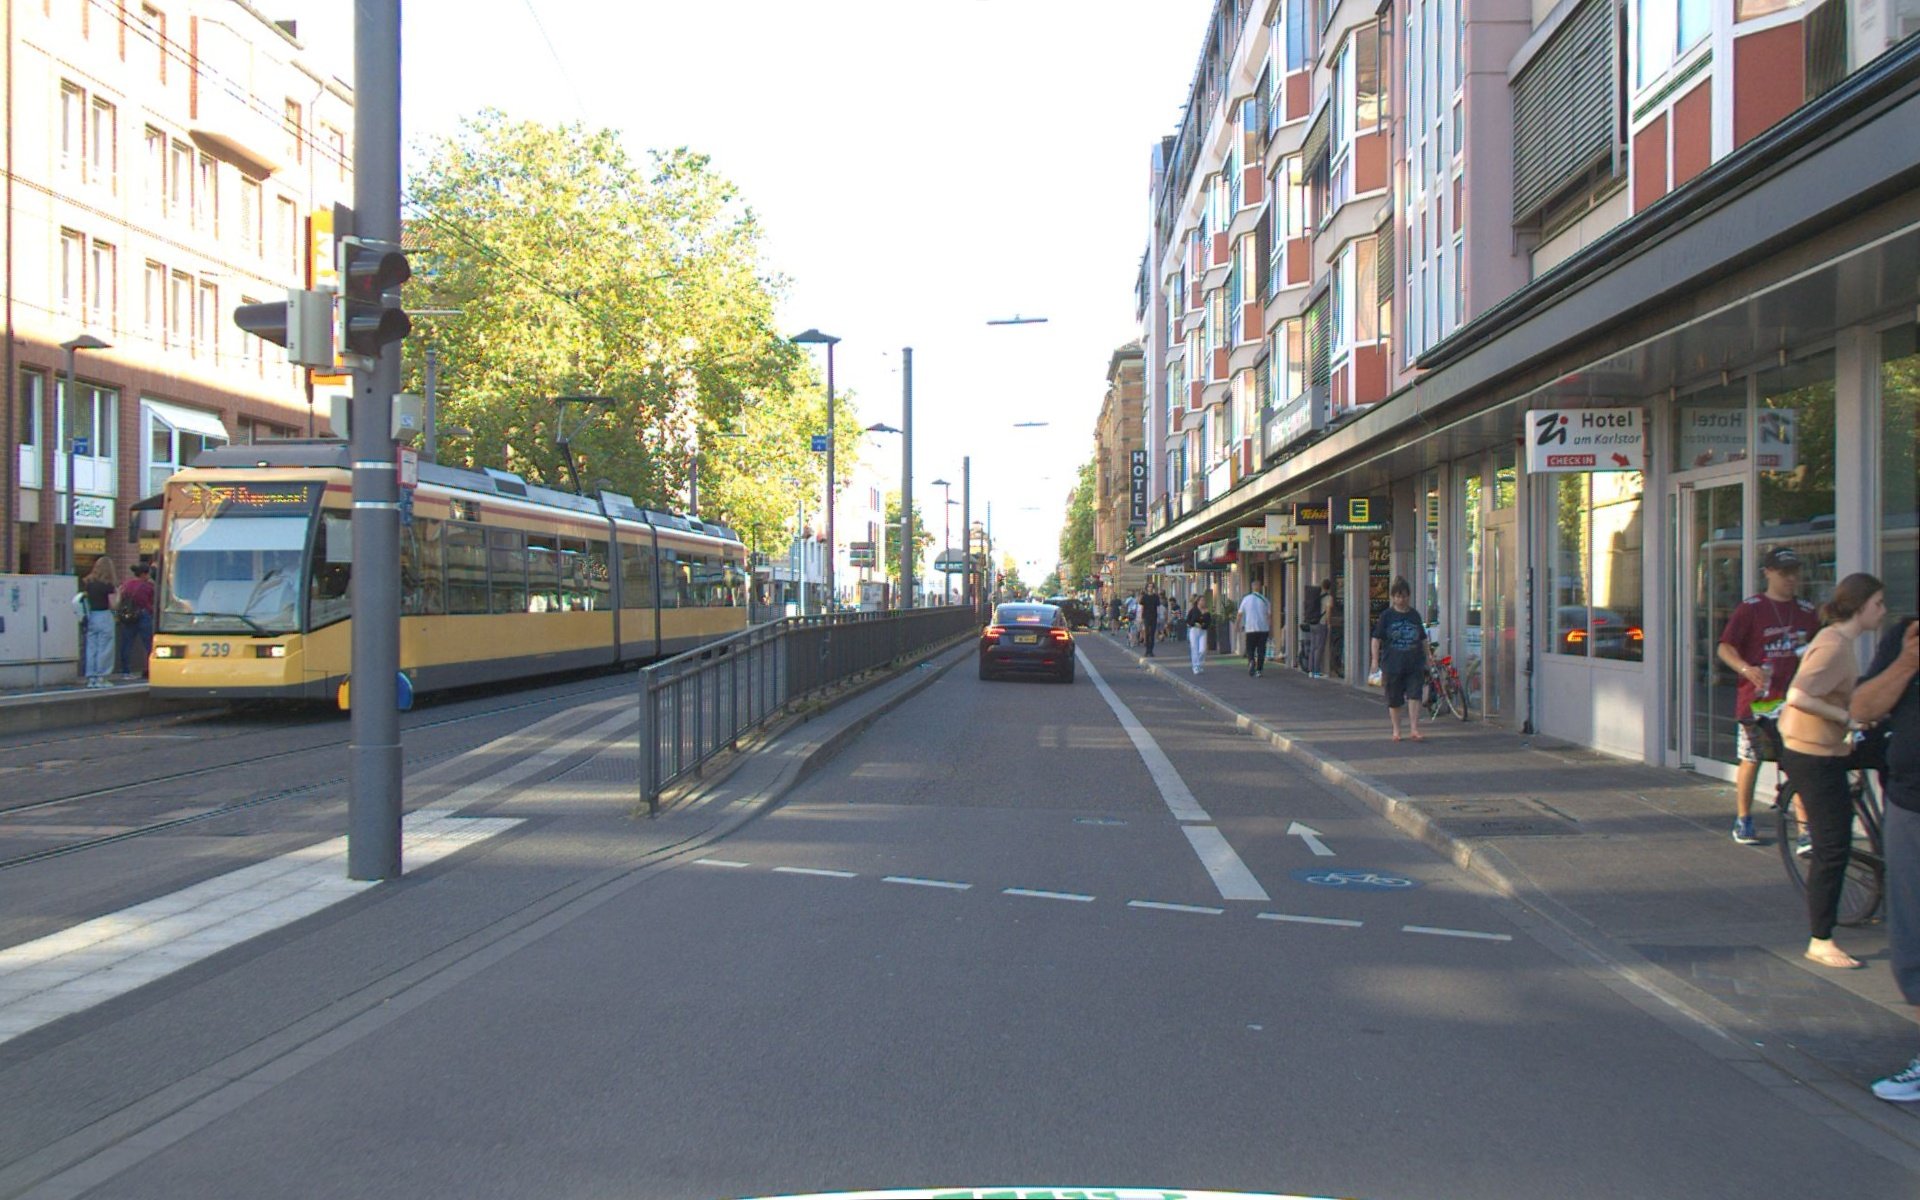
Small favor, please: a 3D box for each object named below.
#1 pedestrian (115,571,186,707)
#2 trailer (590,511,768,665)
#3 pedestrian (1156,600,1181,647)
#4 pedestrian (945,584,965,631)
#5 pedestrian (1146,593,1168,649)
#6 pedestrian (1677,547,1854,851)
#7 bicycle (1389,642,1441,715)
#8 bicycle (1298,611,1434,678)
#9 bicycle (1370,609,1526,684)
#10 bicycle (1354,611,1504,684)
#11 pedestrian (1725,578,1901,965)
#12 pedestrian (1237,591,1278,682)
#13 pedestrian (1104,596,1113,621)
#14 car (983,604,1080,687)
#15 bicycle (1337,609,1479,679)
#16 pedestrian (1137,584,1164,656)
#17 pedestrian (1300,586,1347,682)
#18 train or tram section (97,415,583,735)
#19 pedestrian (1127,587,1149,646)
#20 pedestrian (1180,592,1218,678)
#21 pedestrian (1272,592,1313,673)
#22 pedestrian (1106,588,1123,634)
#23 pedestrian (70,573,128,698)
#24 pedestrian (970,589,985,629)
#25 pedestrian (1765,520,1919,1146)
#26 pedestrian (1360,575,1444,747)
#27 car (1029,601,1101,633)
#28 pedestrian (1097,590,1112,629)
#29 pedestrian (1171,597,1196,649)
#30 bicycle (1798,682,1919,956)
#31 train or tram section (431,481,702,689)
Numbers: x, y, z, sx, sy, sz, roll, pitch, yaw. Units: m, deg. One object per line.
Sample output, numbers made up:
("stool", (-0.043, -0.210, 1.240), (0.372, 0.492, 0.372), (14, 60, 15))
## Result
("pedestrian", (-10.659, 0.504, 21.781), (0.573, 1.751, 0.635), (0, 0, 33))
("trailer", (-7.158, -0.276, 43.570), (2.657, 3.608, 9.362), (0, 0, 3))
("pedestrian", (7.328, 0.831, 58.242), (0.824, 1.635, 0.788), (0, 0, 3))
("pedestrian", (-0.196, 0.289, 63.724), (0.741, 1.801, 0.699), (0, 0, 2))
("pedestrian", (6.775, 0.719, 56.920), (0.682, 1.930, 0.750), (0, 0, 3))
("pedestrian", (4.730, 0.559, 9.741), (0.674, 1.718, 0.669), (0, 0, -11))
("bicycle", (5.780, 0.989, 21.039), (0.406, 0.872, 1.238), (0, 0, 5))
("bicycle", (7.643, 0.826, 31.194), (2.378, 1.238, 0.829), (0, 0, 0))
("bicycle", (8.143, 0.768, 27.674), (2.378, 1.238, 0.796), (0, 0, 0))
("bicycle", (8.099, 0.813, 28.640), (2.378, 1.238, 0.796), (0, 0, 0))
("pedestrian", (3.690, 0.703, 7.161), (0.468, 1.590, 0.537), (0, 0, -39))
("pedestrian", (5.600, 0.679, 31.145), (0.682, 1.707, 0.750), (0, 0, 3))
("pedestrian", (11.360, 0.674, 126.469), (0.682, 1.911, 0.750), (0, 0, 4))
("car", (1.387, 0.874, 32.447), (1.753, 1.476, 3.940), (1, -1, 2))
("bicycle", (8.153, 0.795, 30.185), (2.378, 1.238, 0.796), (0, 0, 0))
("pedestrian", (5.097, 0.532, 44.254), (0.682, 1.930, 0.750), (0, 0, 3))
("pedestrian", (6.530, 0.606, 29.730), (0.731, 1.707, 0.699), (0, 0, 4))
("train or tram section", (-8.155, -0.274, 23.708), (2.672, 3.604, 10.090), (0, 0, 3))
("pedestrian", (5.851, 0.527, 54.326), (0.682, 1.930, 0.750), (0, 0, 3))
("pedestrian", (4.817, 0.692, 33.355), (0.682, 1.707, 0.750), (0, 0, 3))
("pedestrian", (6.942, 0.676, 34.595), (0.722, 1.681, 0.718), (0, 0, 1))
("pedestrian", (6.617, 0.467, 70.777), (0.682, 1.930, 0.750), (0, 0, 3))
("pedestrian", (-10.899, 0.441, 20.946), (0.575, 1.557, 0.633), (0, 0, -22))
("pedestrian", (0.771, 0.409, 74.626), (0.664, 1.801, 0.663), (0, 0, 0))
("pedestrian", (3.075, 0.676, 5.212), (0.614, 1.813, 0.917), (0, 0, -2))
("pedestrian", (4.472, 0.604, 16.773), (0.682, 1.707, 0.750), (0, 0, 3))
("car", (5.774, 0.929, 91.330), (3.637, 1.694, 1.735), (0, 0, -16))
("pedestrian", (7.225, 0.484, 82.710), (0.682, 1.930, 0.750), (0, 0, 3))
("pedestrian", (7.697, 0.790, 56.986), (0.824, 1.787, 0.788), (0, 0, 3))
("bicycle", (4.401, 0.946, 6.711), (0.480, 1.121, 2.115), (0, 0, -16))
("train or tram section", (-7.631, -0.262, 33.823), (2.657, 3.608, 10.172), (0, 0, 3))
